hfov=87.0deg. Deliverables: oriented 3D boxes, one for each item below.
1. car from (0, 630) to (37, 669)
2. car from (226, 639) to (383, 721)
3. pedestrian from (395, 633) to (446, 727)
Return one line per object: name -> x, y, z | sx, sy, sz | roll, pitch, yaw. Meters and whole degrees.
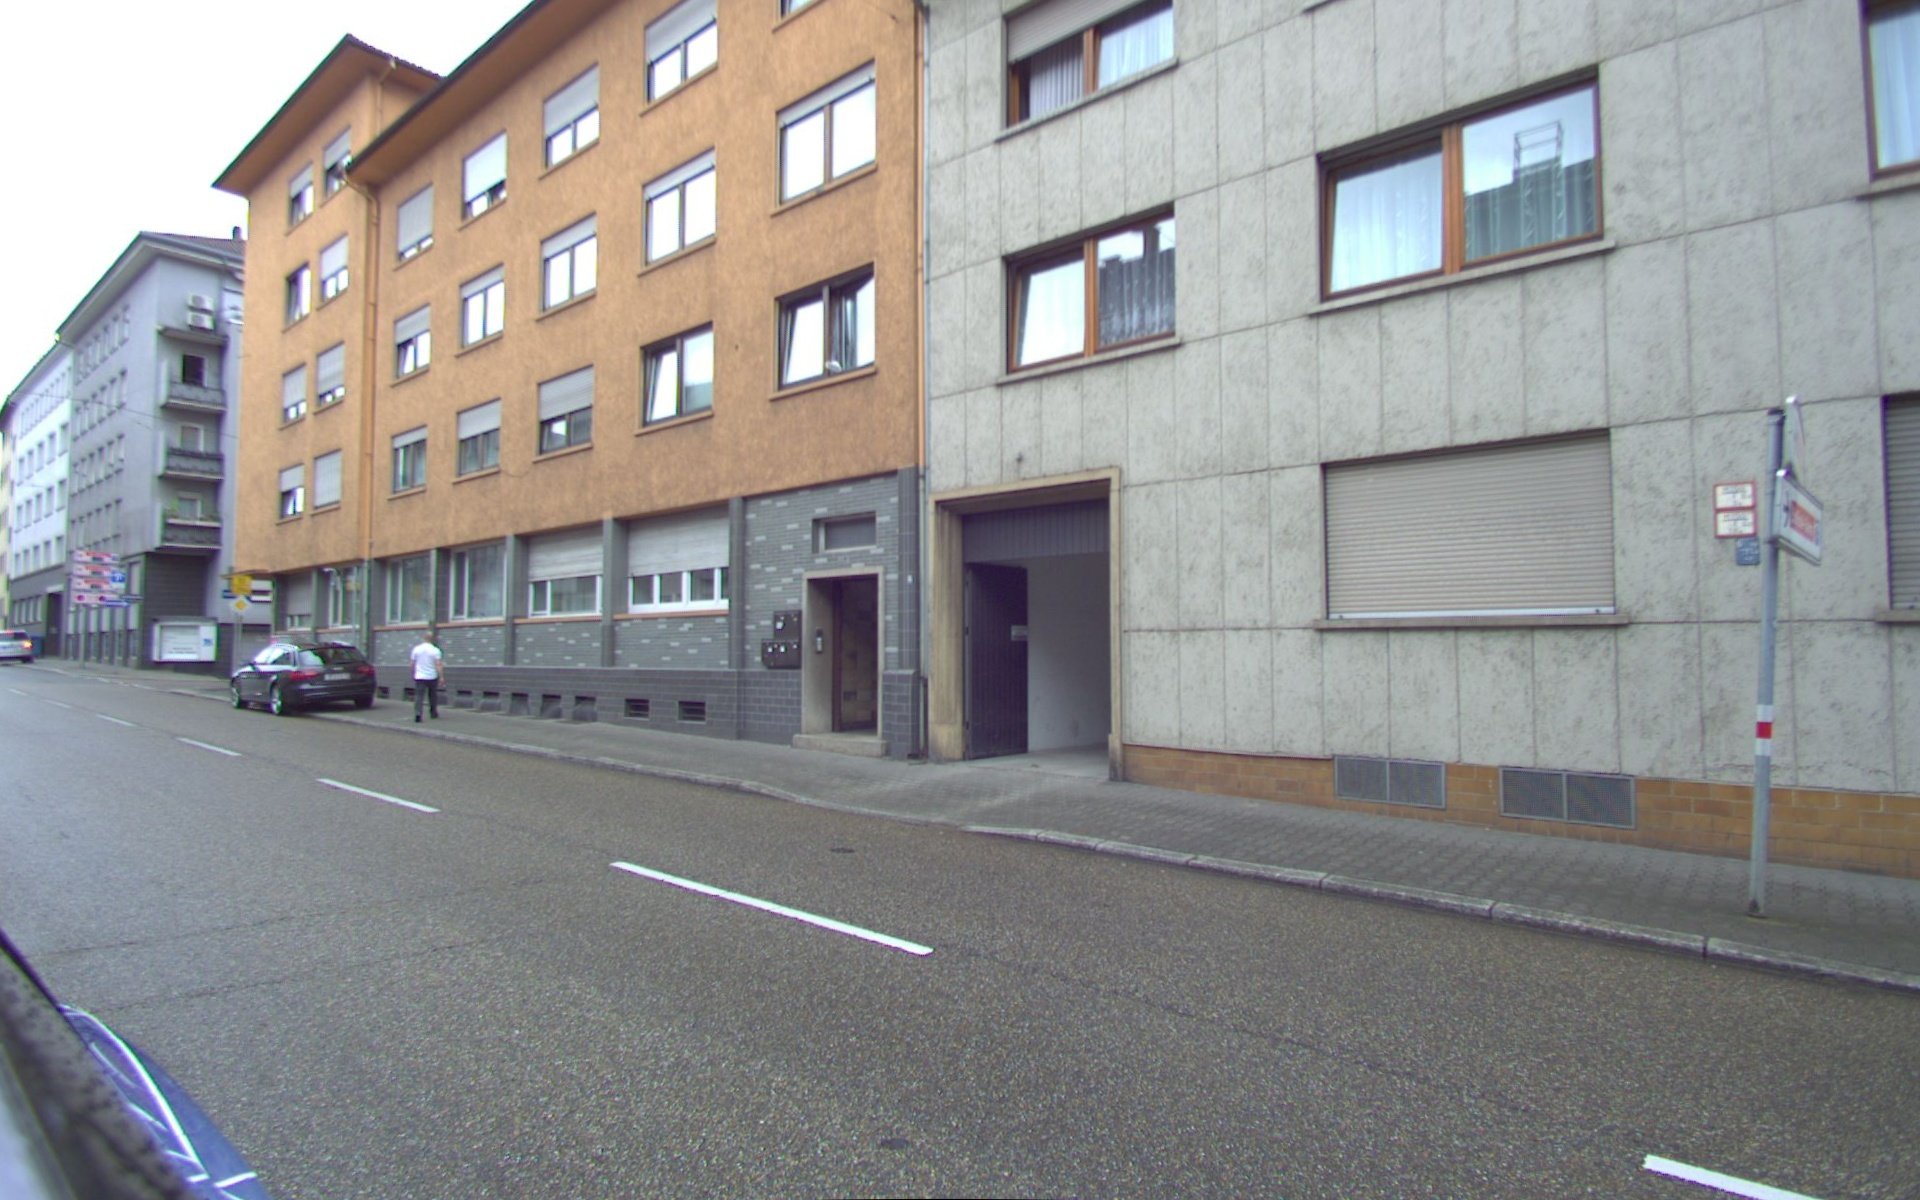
car -> -46.503, 2.384, 49.298 | 4.216, 1.735, 1.832 | -1, 0, 41
car -> -14.278, 1.656, 21.960 | 4.216, 1.485, 1.776 | -1, 0, 41
pedestrian -> -10.040, 1.461, 18.834 | 0.756, 1.652, 1.026 | -1, 0, -32
